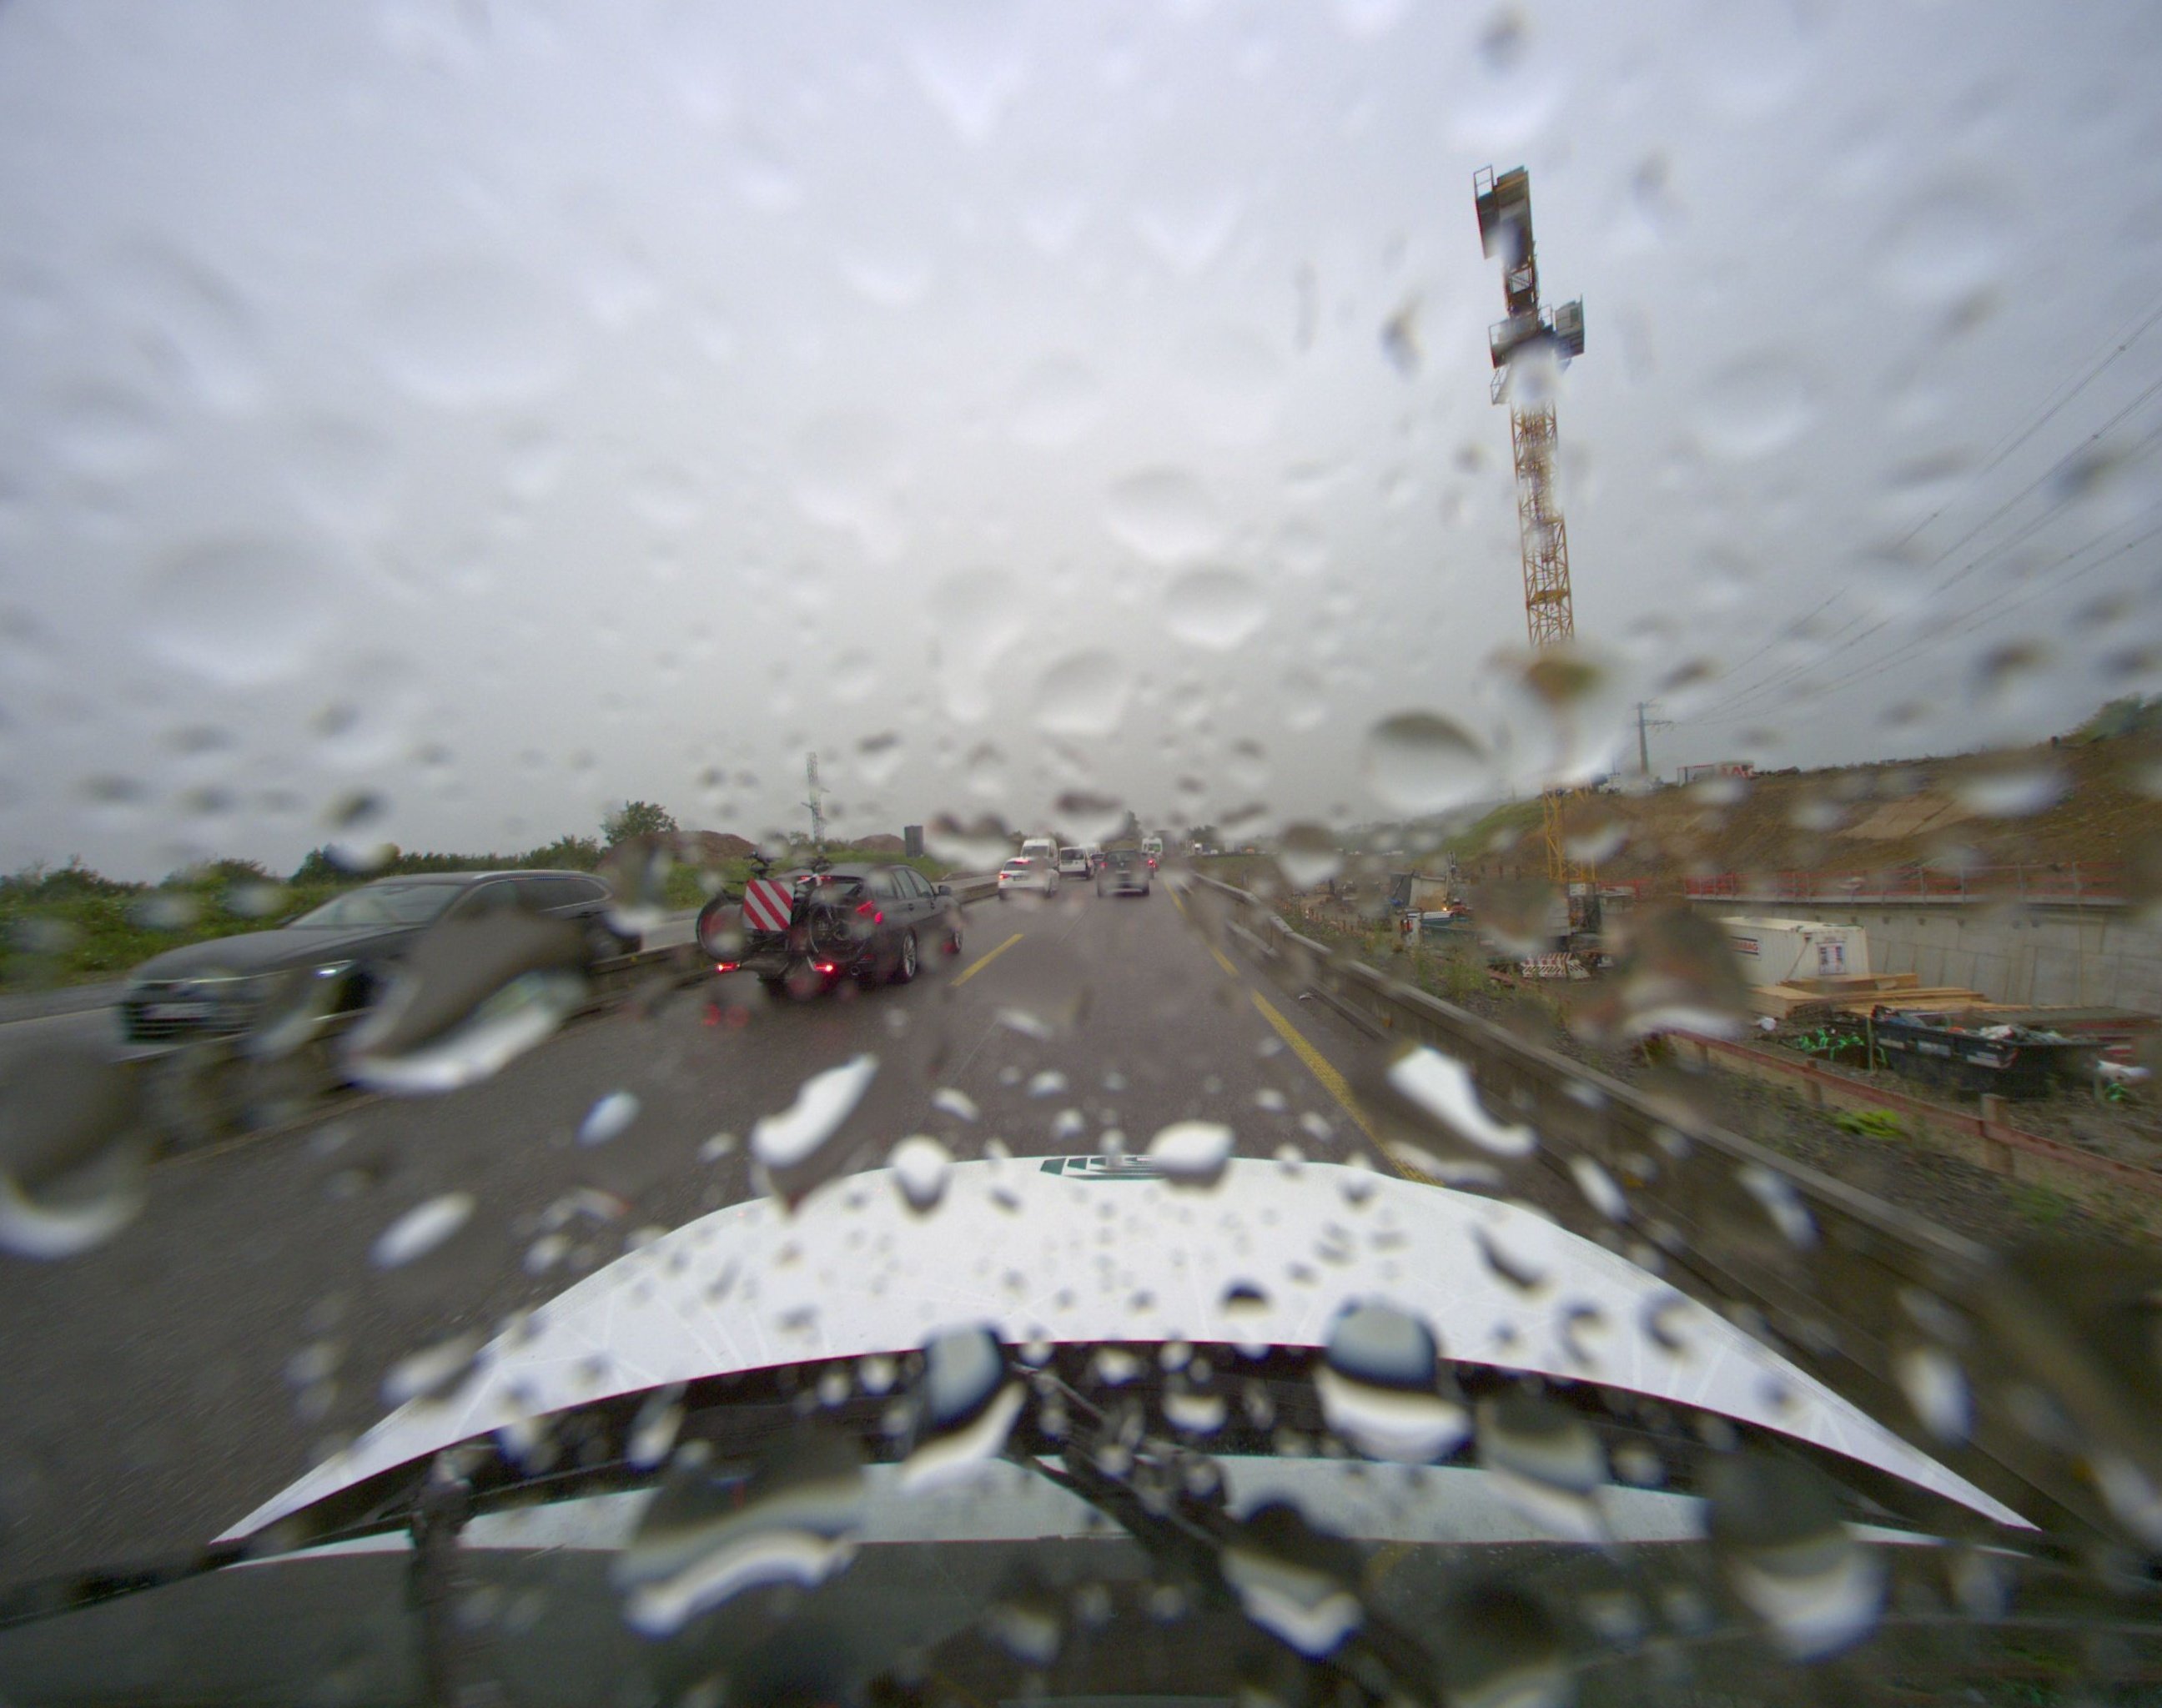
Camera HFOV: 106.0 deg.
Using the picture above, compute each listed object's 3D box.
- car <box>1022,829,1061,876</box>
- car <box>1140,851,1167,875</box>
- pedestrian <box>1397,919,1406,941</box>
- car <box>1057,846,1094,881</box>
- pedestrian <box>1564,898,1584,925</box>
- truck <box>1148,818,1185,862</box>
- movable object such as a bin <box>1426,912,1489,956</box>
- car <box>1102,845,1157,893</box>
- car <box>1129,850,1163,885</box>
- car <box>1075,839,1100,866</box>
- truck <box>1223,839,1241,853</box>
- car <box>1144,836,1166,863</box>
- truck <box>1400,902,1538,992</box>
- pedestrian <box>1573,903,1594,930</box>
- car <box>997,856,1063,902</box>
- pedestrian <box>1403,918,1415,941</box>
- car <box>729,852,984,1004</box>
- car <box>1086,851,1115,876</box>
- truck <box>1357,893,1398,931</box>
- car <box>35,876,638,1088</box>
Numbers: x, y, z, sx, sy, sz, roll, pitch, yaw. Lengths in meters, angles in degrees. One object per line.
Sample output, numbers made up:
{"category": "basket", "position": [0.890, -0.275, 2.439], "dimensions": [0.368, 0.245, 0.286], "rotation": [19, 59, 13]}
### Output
{"category": "car", "position": [-2.624, -0.107, 55.023], "dimensions": [1.985, 3.013, 5.785], "rotation": [-1, 0, 3]}
{"category": "car", "position": [5.609, 0.696, 62.926], "dimensions": [1.816, 1.815, 4.009], "rotation": [-1, -1, 9]}
{"category": "pedestrian", "position": [28.421, 6.773, 72.277], "dimensions": [0.569, 1.869, 0.738], "rotation": [-1, -1, 13]}
{"category": "car", "position": [-0.272, 0.515, 45.186], "dimensions": [1.819, 1.815, 4.003], "rotation": [-1, -1, 3]}
{"category": "pedestrian", "position": [39.693, 4.647, 65.573], "dimensions": [0.897, 1.999, 0.901], "rotation": [9, 0, 11]}
{"category": "truck", "position": [10.687, -1.555, 100.637], "dimensions": [3.521, 5.077, 10.473], "rotation": [-1, -1, 11]}
{"category": "movable object such as a bin", "position": [25.786, 5.448, 55.930], "dimensions": [3.133, 2.738, 2.974], "rotation": [-1, -1, 7]}
{"category": "car", "position": [1.753, 0.534, 29.532], "dimensions": [1.818, 1.591, 4.003], "rotation": [-1, -1, 3]}
{"category": "car", "position": [3.694, 0.746, 45.725], "dimensions": [1.817, 1.815, 4.006], "rotation": [-1, -1, 6]}
{"category": "car", "position": [0.716, -0.177, 81.798], "dimensions": [2.015, 2.548, 5.965], "rotation": [-2, 0, 4]}
{"category": "truck", "position": [41.035, -2.225, 221.586], "dimensions": [3.443, 3.715, 8.459], "rotation": [-2, 0, 19]}
{"category": "car", "position": [7.152, -0.401, 78.638], "dimensions": [1.815, 2.437, 4.168], "rotation": [-1, -1, 9]}
{"category": "truck", "position": [18.861, 4.357, 40.405], "dimensions": [2.690, 3.503, 8.949], "rotation": [-1, -1, 1]}
{"category": "pedestrian", "position": [39.645, 4.932, 64.204], "dimensions": [0.897, 1.999, 0.901], "rotation": [9, 0, 11]}
{"category": "car", "position": [-1.738, 0.844, 29.018], "dimensions": [1.818, 1.499, 4.004], "rotation": [-1, -1, 4]}
{"category": "pedestrian", "position": [28.820, 6.662, 71.533], "dimensions": [0.575, 1.944, 0.730], "rotation": [0, -1, -21]}
{"category": "car", "position": [-2.737, 0.784, 11.506], "dimensions": [1.727, 1.462, 5.634], "rotation": [-1, 1, 3]}
{"category": "car", "position": [1.509, 0.686, 61.399], "dimensions": [1.817, 1.815, 4.007], "rotation": [-1, -1, 6]}
{"category": "truck", "position": [31.837, 6.134, 87.742], "dimensions": [2.712, 3.491, 9.093], "rotation": [-1, -1, 11]}
{"category": "car", "position": [-6.825, 1.025, 8.392], "dimensions": [1.887, 1.496, 4.583], "rotation": [-1, -1, 2]}
